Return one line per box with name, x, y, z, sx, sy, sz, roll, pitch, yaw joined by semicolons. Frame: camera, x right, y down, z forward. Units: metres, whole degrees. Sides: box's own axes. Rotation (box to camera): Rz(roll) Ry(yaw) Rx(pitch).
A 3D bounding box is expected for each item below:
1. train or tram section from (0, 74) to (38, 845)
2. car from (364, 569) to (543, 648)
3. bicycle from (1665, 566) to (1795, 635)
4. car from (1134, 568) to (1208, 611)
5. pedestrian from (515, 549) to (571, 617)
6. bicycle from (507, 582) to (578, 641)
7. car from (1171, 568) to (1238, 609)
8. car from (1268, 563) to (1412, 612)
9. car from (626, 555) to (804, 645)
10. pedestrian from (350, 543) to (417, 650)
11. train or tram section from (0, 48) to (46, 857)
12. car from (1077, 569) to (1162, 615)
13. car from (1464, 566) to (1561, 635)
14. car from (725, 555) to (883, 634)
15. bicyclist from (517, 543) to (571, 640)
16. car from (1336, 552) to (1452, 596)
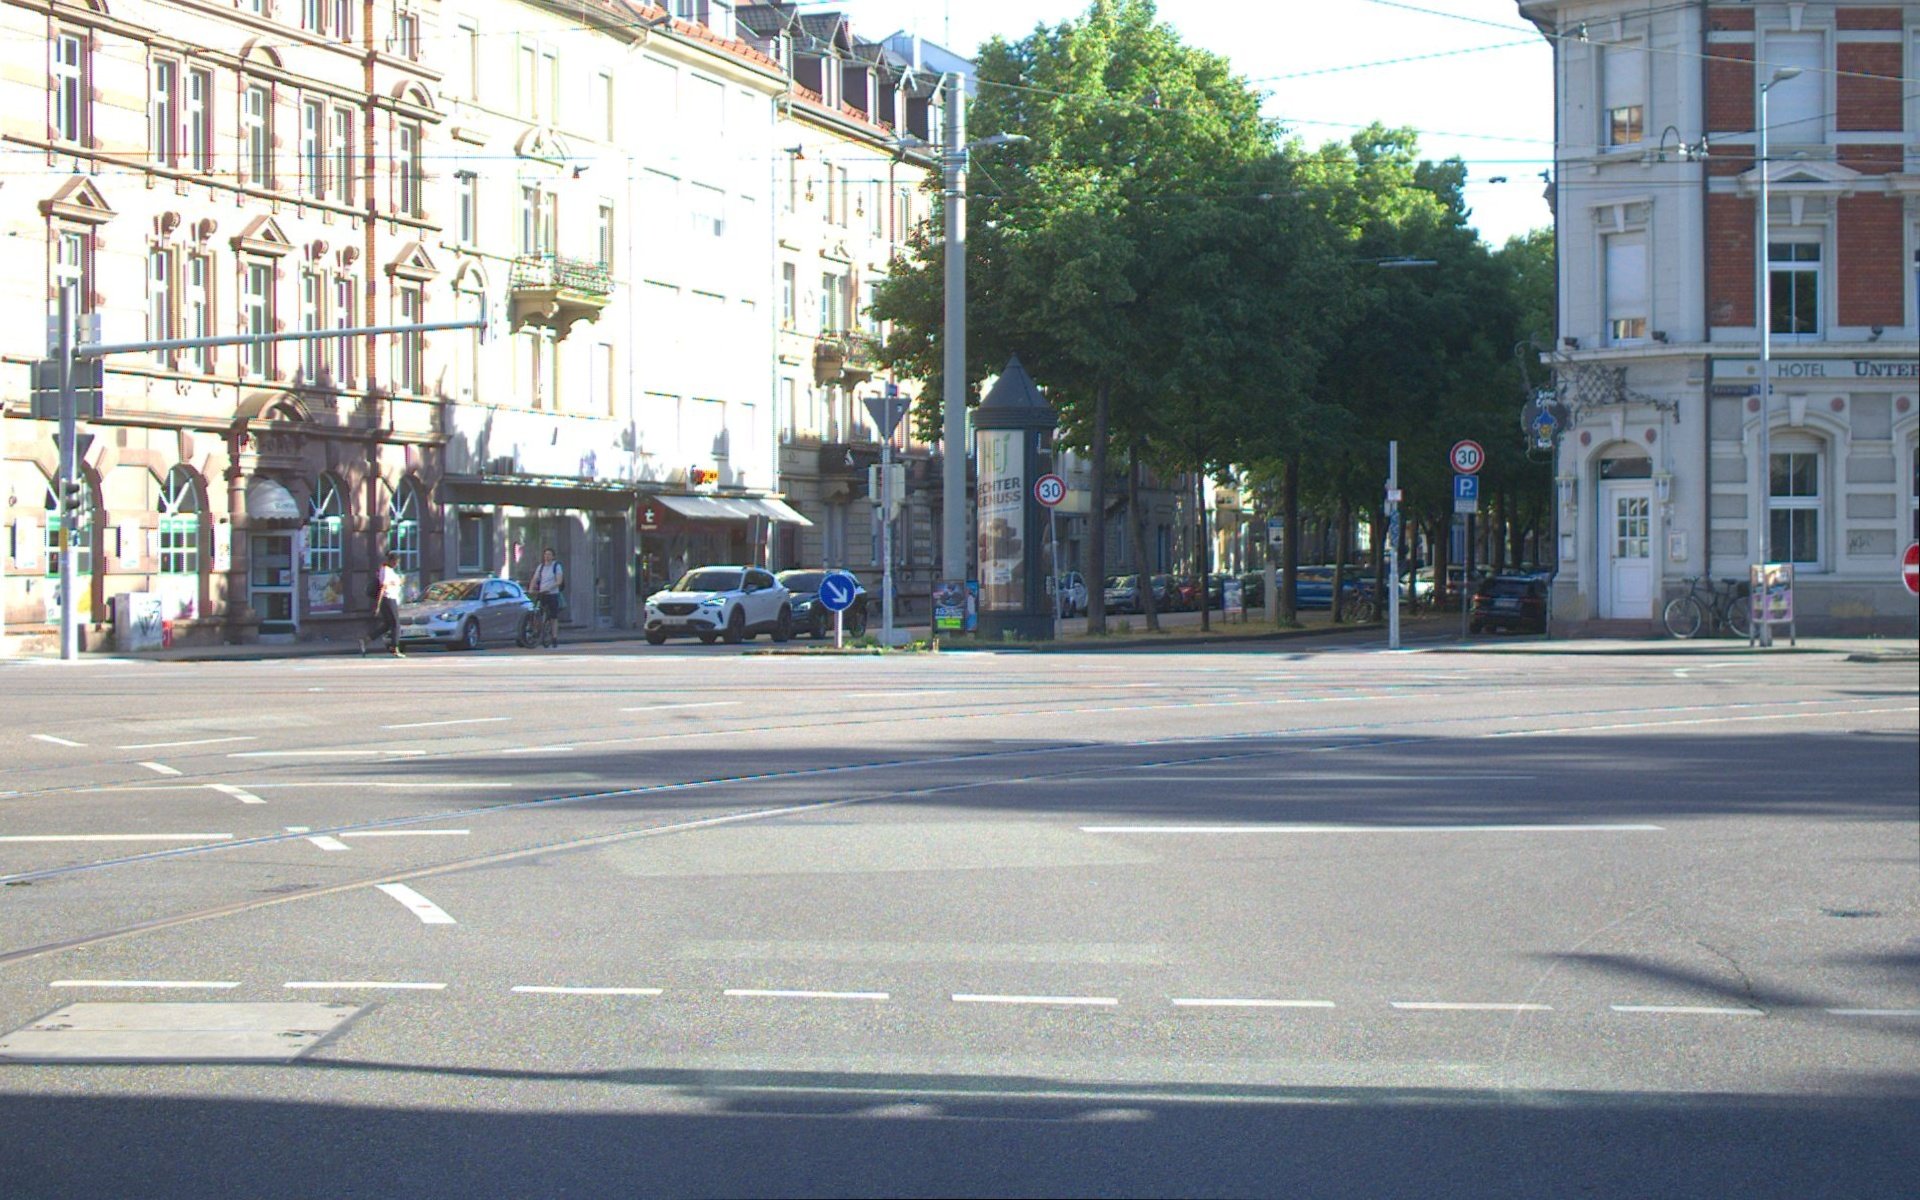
train or tram section;-7.277;-0.734;20.954;2.769;3.488;12.034;-1;1;-17
car;-9.847;0.146;67.076;1.900;1.450;3.997;0;1;17
bicycle;12.863;0.006;57.417;2.085;1.120;0.367;1;0;-4
car;8.036;-0.418;130.481;1.839;1.547;4.387;0;1;17
pedestrian;-9.590;-0.396;79.129;0.929;1.530;1.136;0;1;14
bicycle;-7.883;0.214;65.037;0.680;1.062;2.124;0;1;12
car;9.702;-0.467;136.358;1.766;1.544;4.387;0;1;16
car;12.759;-0.440;115.420;4.382;1.606;1.997;0;1;27
car;-4.759;-0.021;67.351;1.995;1.678;4.387;0;1;17
pedestrian;-9.482;-0.069;56.528;1.046;1.738;0.809;0;1;-12
train or tram section;-5.393;-0.565;11.364;2.814;3.488;8.463;0;1;-3
car;5.709;-0.299;122.691;1.995;1.607;4.387;0;1;17
car;13.274;-0.014;82.468;1.995;1.579;3.998;0;1;14
car;-3.313;-0.138;73.865;1.995;1.606;4.387;0;1;17
bicyclist;-7.873;-0.166;65.073;0.679;1.814;1.070;0;1;12
car;16.864;-1.014;133.651;3.993;1.700;1.997;0;1;30
